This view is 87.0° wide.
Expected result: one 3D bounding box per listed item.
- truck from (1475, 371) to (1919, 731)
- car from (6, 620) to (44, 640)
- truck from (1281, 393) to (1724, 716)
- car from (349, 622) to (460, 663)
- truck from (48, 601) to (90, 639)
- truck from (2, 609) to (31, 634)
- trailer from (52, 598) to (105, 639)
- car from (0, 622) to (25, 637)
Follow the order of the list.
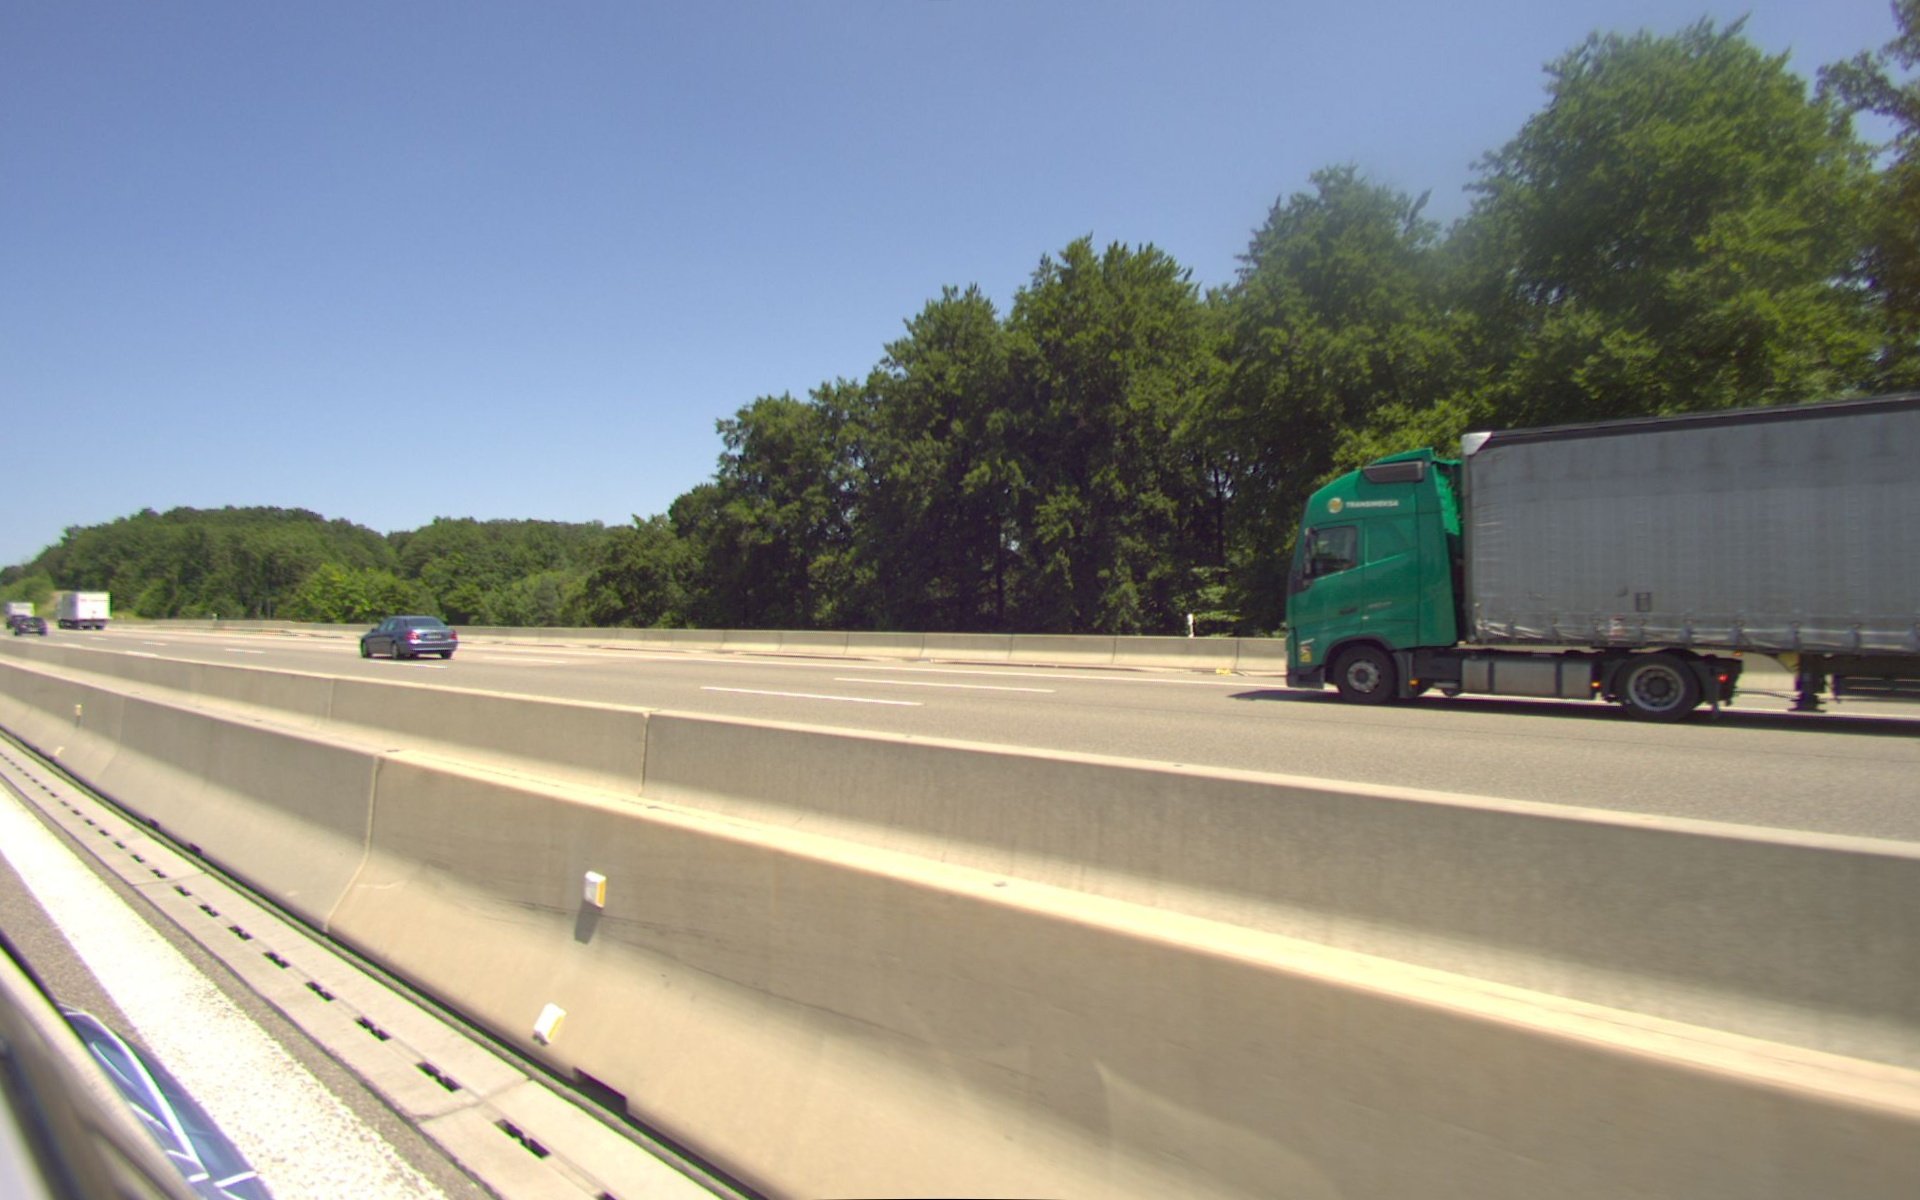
[{"bbox_3d":[13.597,-0.601,10.684,14.291,4.056,2.662,-1,-1,41],"label":"truck"},{"bbox_3d":[-71.765,2.275,77.653,4.480,1.489,1.748,-1,-1,42],"label":"car"},{"bbox_3d":[8.135,-0.525,15.516,5.507,4.056,2.630,-1,-1,41],"label":"truck"},{"bbox_3d":[-18.961,1.404,34.438,4.727,1.311,1.813,-1,-1,41],"label":"car"},{"bbox_3d":[-100.542,2.240,114.160,7.874,4.131,2.686,-2,-2,42],"label":"truck"},{"bbox_3d":[-144.986,3.278,155.461,8.573,3.598,2.513,-2,-1,42],"label":"truck"},{"bbox_3d":[-95.810,2.082,109.917,14.357,4.257,2.614,-2,-2,42],"label":"trailer"},{"bbox_3d":[-109.708,3.383,117.133,5.078,1.655,1.779,-1,-1,42],"label":"car"}]
